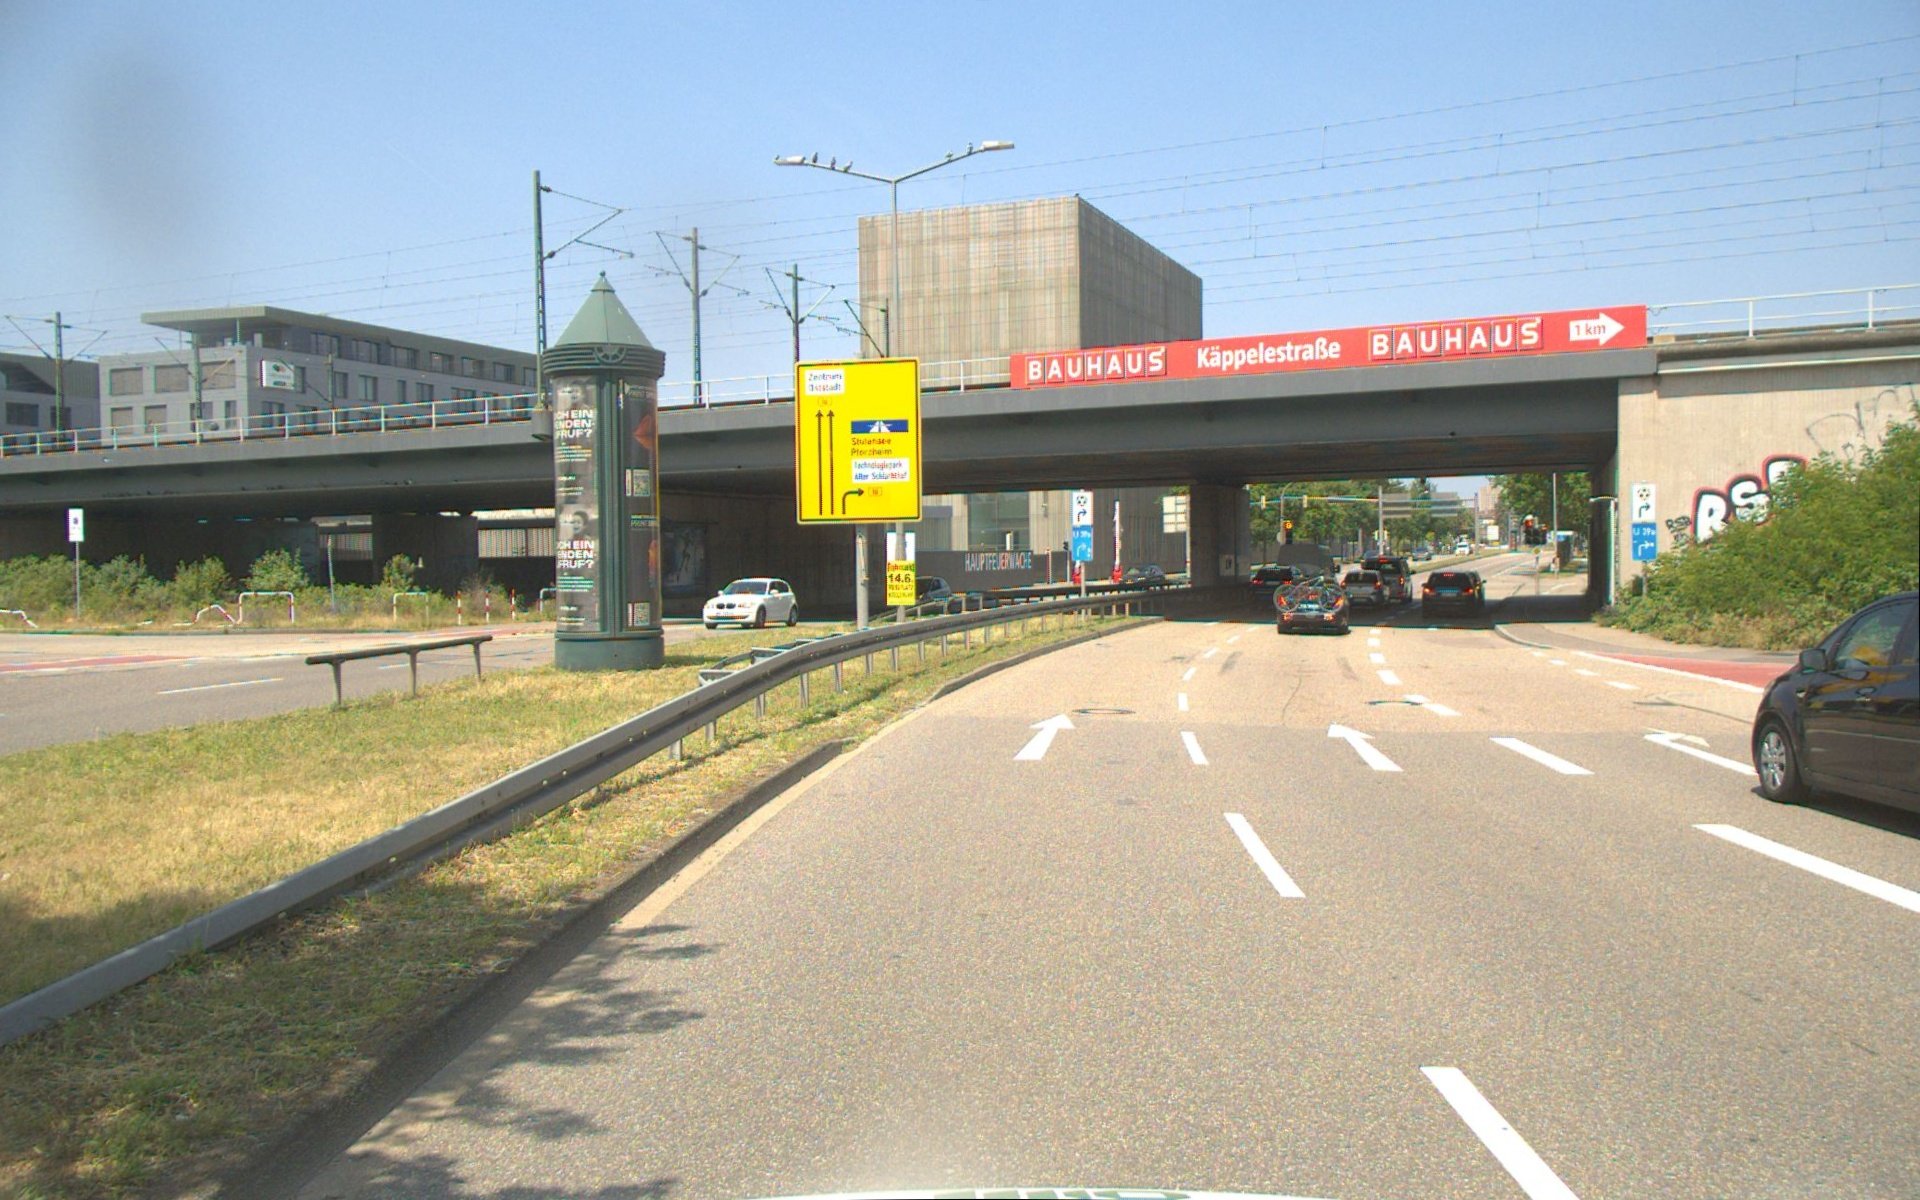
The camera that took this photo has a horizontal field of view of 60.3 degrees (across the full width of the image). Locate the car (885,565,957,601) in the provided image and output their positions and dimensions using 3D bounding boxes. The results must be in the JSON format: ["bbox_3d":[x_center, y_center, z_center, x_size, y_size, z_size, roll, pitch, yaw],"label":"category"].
[{"bbox_3d":[-1.707,-0.729,73.843,1.952,1.466,4.002,-2,-1,18],"label":"car"}]

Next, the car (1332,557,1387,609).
[{"bbox_3d":[15.472,-0.647,63.993,1.801,1.923,4.002,0,0,18],"label":"car"}]

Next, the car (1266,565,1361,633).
[{"bbox_3d":[9.189,-0.058,42.720,1.916,1.662,4.282,0,1,19],"label":"car"}]

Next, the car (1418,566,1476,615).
[{"bbox_3d":[16.579,-0.321,56.195,1.801,1.596,4.002,0,0,18],"label":"car"}]

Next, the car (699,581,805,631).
[{"bbox_3d":[-6.048,0.139,48.625,1.619,1.403,4.221,0,1,15],"label":"car"}]

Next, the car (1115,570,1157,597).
[{"bbox_3d":[11.026,-1.056,103.367,1.815,1.651,4.002,0,0,19],"label":"car"}]

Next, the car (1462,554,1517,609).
[{"bbox_3d":[21.318,-0.748,66.665,1.951,2.049,4.003,-3,0,17],"label":"car"}]

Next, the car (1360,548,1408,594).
[{"bbox_3d":[18.218,-1.222,71.004,1.801,1.923,4.002,0,0,18],"label":"car"}]

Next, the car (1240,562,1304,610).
[{"bbox_3d":[11.940,-0.541,63.169,1.899,1.751,4.002,0,0,18],"label":"car"}]

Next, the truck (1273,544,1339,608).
[{"bbox_3d":[14.688,-1.024,70.096,2.025,2.582,4.000,-2,0,21],"label":"truck"}]

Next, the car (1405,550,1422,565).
[{"bbox_3d":[53.529,-4.975,195.336,1.815,1.651,4.002,0,0,17],"label":"car"}]

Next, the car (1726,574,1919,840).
[{"bbox_3d":[6.827,0.652,10.968,1.730,1.627,4.079,0,1,2],"label":"car"}]
